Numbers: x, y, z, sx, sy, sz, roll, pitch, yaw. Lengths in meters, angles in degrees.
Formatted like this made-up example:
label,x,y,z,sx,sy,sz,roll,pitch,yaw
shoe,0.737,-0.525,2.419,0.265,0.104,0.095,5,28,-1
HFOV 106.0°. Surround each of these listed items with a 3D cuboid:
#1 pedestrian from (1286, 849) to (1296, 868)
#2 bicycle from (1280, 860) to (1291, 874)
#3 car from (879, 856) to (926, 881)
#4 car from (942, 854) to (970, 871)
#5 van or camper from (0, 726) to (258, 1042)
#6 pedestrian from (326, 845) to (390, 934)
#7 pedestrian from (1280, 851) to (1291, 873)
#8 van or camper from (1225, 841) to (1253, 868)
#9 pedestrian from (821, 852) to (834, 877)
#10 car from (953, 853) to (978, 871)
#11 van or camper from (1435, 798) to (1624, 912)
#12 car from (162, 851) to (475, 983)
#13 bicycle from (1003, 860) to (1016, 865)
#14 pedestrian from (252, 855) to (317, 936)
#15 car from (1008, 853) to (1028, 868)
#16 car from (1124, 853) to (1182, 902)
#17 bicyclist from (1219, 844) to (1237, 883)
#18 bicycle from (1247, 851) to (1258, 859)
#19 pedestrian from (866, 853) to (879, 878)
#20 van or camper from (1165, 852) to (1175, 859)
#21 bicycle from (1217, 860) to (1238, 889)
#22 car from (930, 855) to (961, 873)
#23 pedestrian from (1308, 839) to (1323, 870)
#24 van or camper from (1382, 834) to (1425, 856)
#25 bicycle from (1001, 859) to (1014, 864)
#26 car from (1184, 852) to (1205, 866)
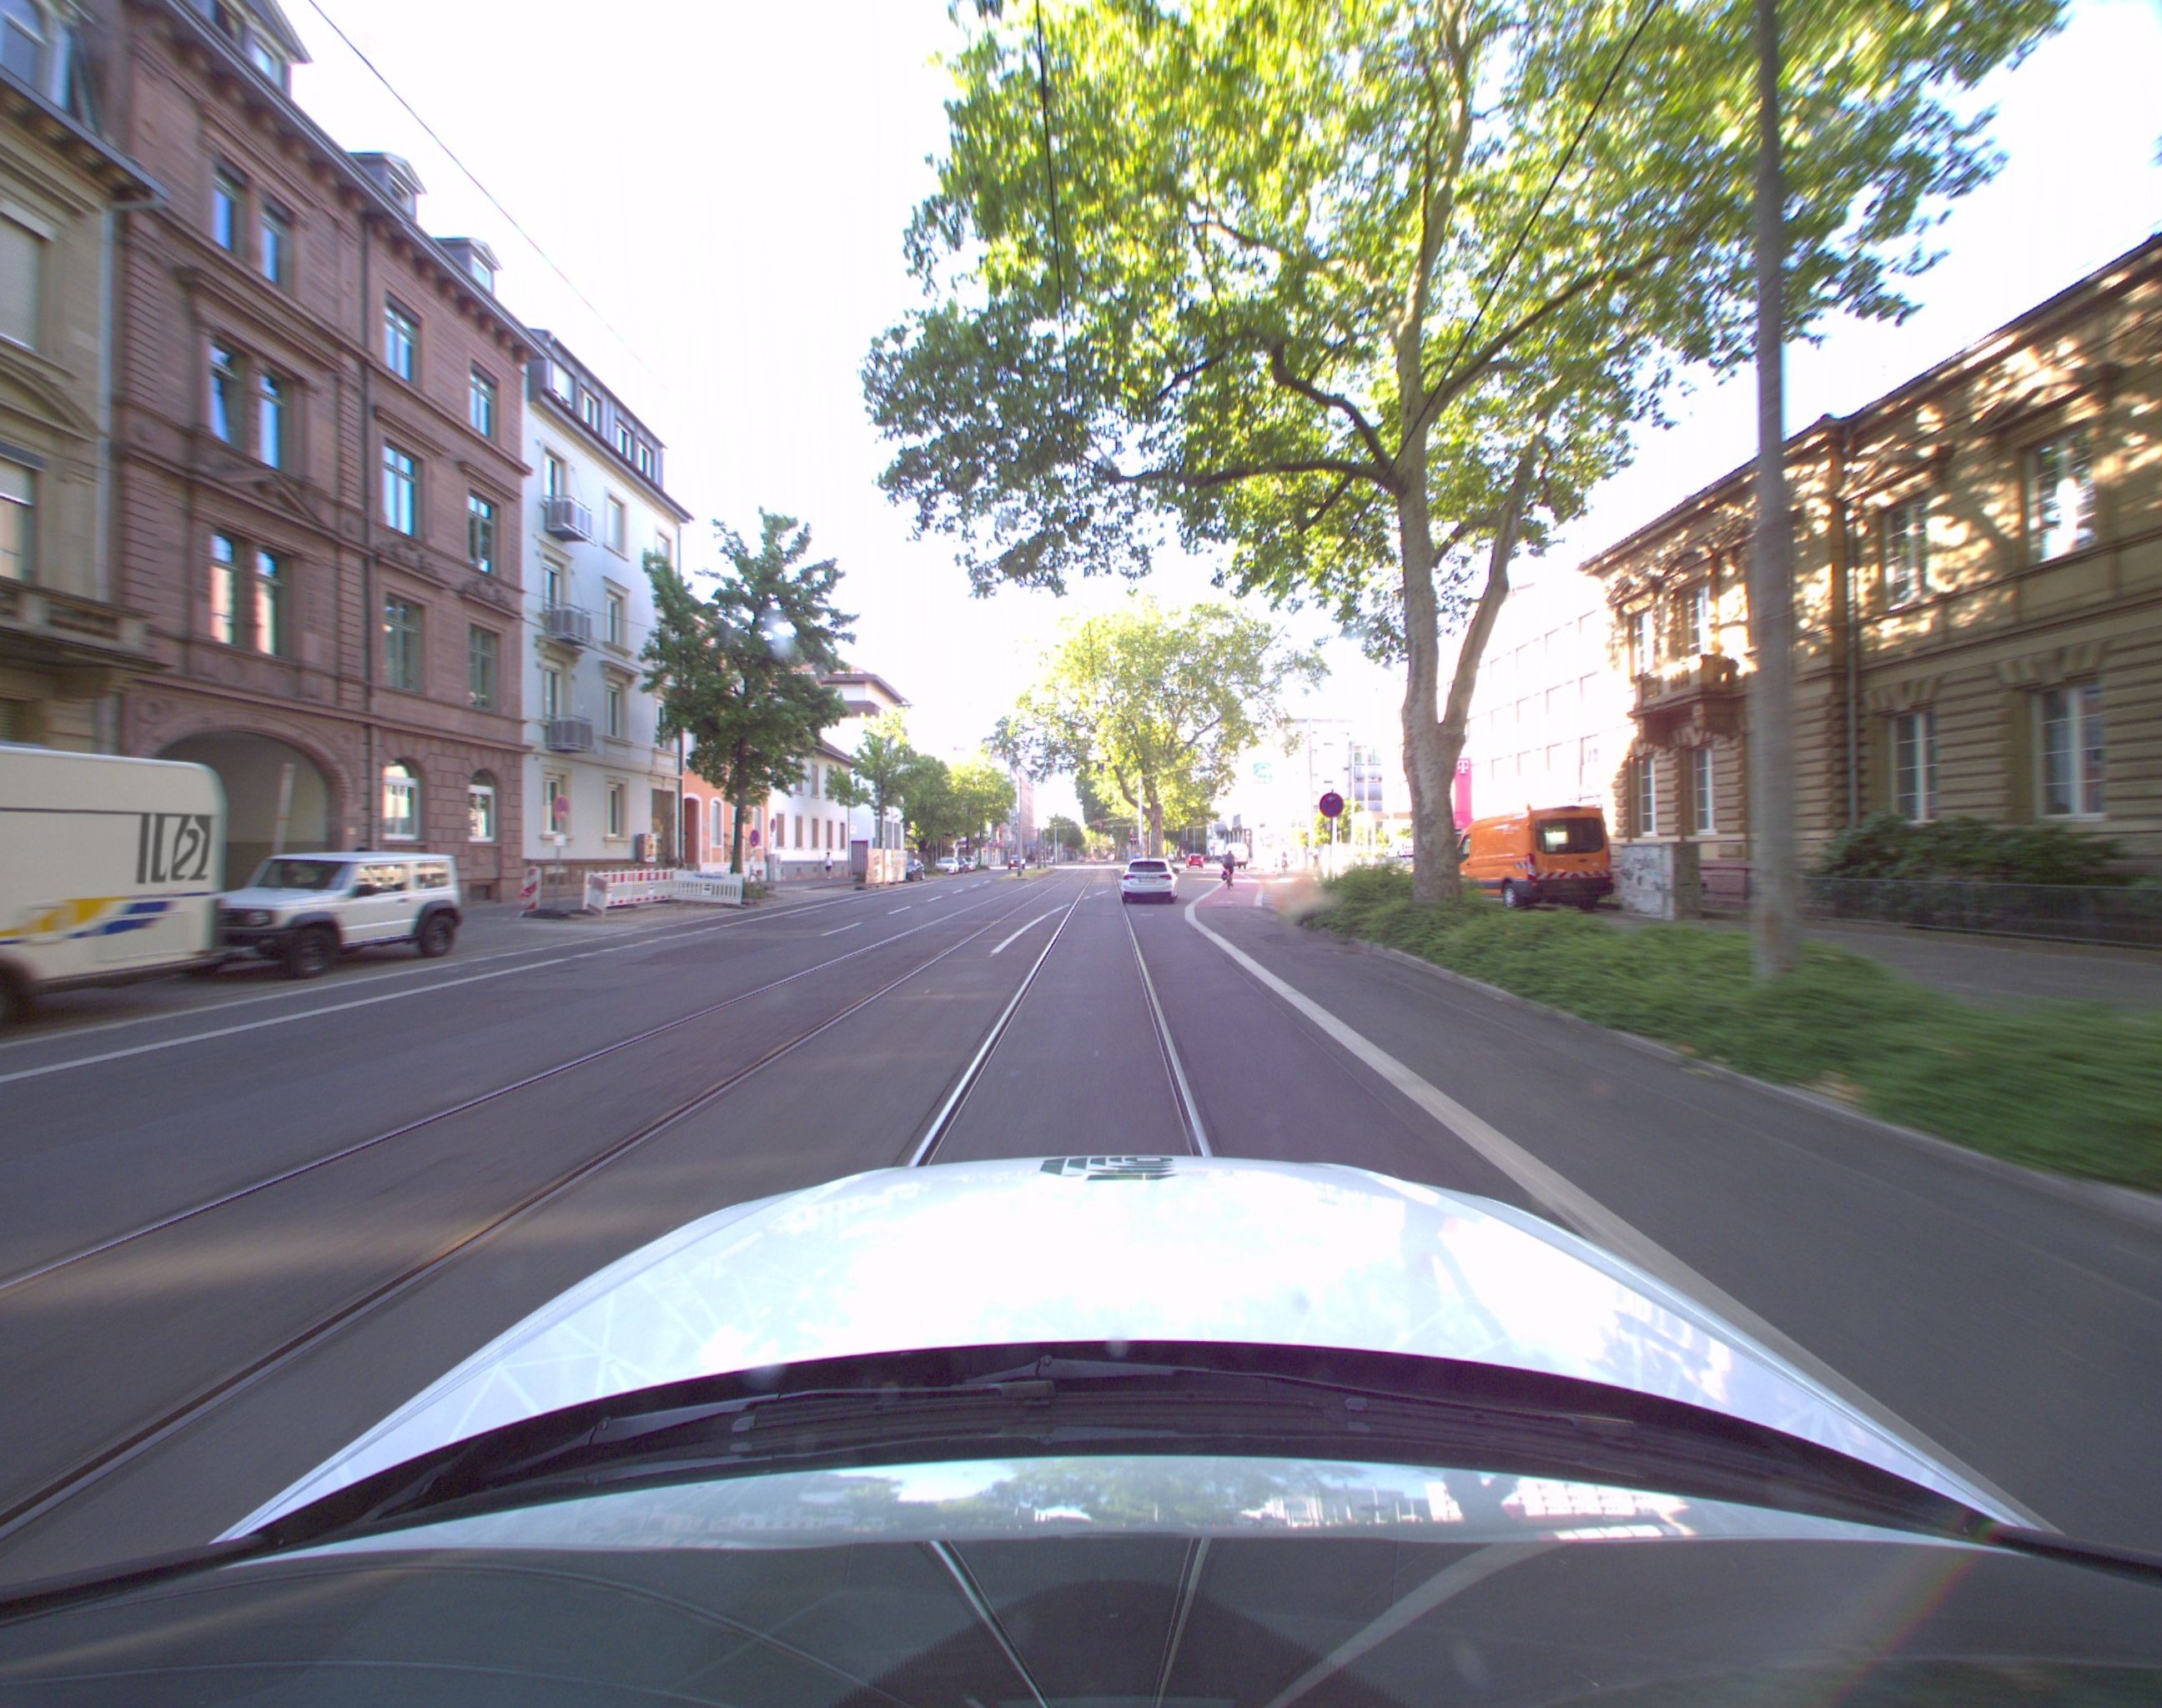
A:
label,x,y,z,sx,sy,sz,roll,pitch,yaw
pedestrian,18.949,0.406,73.522,0.781,1.748,0.774,-1,0,9
bicycle,15.320,0.963,60.991,0.670,1.032,1.907,-3,0,12
car,-11.439,0.883,52.519,1.987,1.513,4.724,-1,0,0
car,-11.573,0.805,75.658,1.988,1.476,4.648,-1,0,-1
van or camper,-11.324,0.233,6.205,2.410,2.947,7.254,3,0,2
pedestrian,-13.779,0.656,15.539,0.566,1.653,0.688,1,0,-1
pedestrian,15.321,0.572,61.089,0.665,1.619,1.105,-3,-1,11
van or camper,16.824,0.060,86.774,2.258,2.733,6.356,2,0,5
pedestrian,-15.661,0.640,50.399,0.592,1.570,0.639,-1,0,-1
car,-11.644,0.786,82.546,1.988,1.689,4.176,-1,0,-1
van or camper,11.469,0.017,21.440,2.027,2.559,5.777,-1,0,3
car,-11.379,0.844,12.512,1.626,1.706,3.368,2,0,-2
bicycle,-11.917,1.402,136.112,2.164,0.787,0.491,-1,0,-2
pedestrian,-14.761,0.756,15.106,0.574,1.461,0.607,1,0,0
car,-7.209,0.705,93.687,1.988,1.689,4.308,-1,0,-1
car,2.391,0.721,27.174,1.794,1.501,3.986,0,0,4
bicyclist,6.496,0.420,35.991,0.738,1.669,0.747,1,0,13
bicycle,32.825,0.183,156.047,1.928,1.443,0.575,-1,0,0
pedestrian,-13.514,0.725,52.823,0.633,1.620,0.731,0,0,-2
van or camper,23.381,0.510,214.523,2.139,1.750,4.429,-2,0,-2
bicycle,6.477,0.876,35.962,0.738,1.224,2.164,1,0,14
car,-11.547,0.825,69.737,1.988,1.471,4.404,-1,0,-1
pedestrian,13.138,0.030,45.537,0.690,1.684,0.935,-1,0,21
van or camper,29.744,-0.793,75.248,1.974,1.909,5.000,-1,0,0
bicycle,-12.191,1.312,135.354,2.164,0.787,0.640,-1,0,-2
car,12.384,0.546,89.158,1.832,1.489,3.718,-1,0,2
